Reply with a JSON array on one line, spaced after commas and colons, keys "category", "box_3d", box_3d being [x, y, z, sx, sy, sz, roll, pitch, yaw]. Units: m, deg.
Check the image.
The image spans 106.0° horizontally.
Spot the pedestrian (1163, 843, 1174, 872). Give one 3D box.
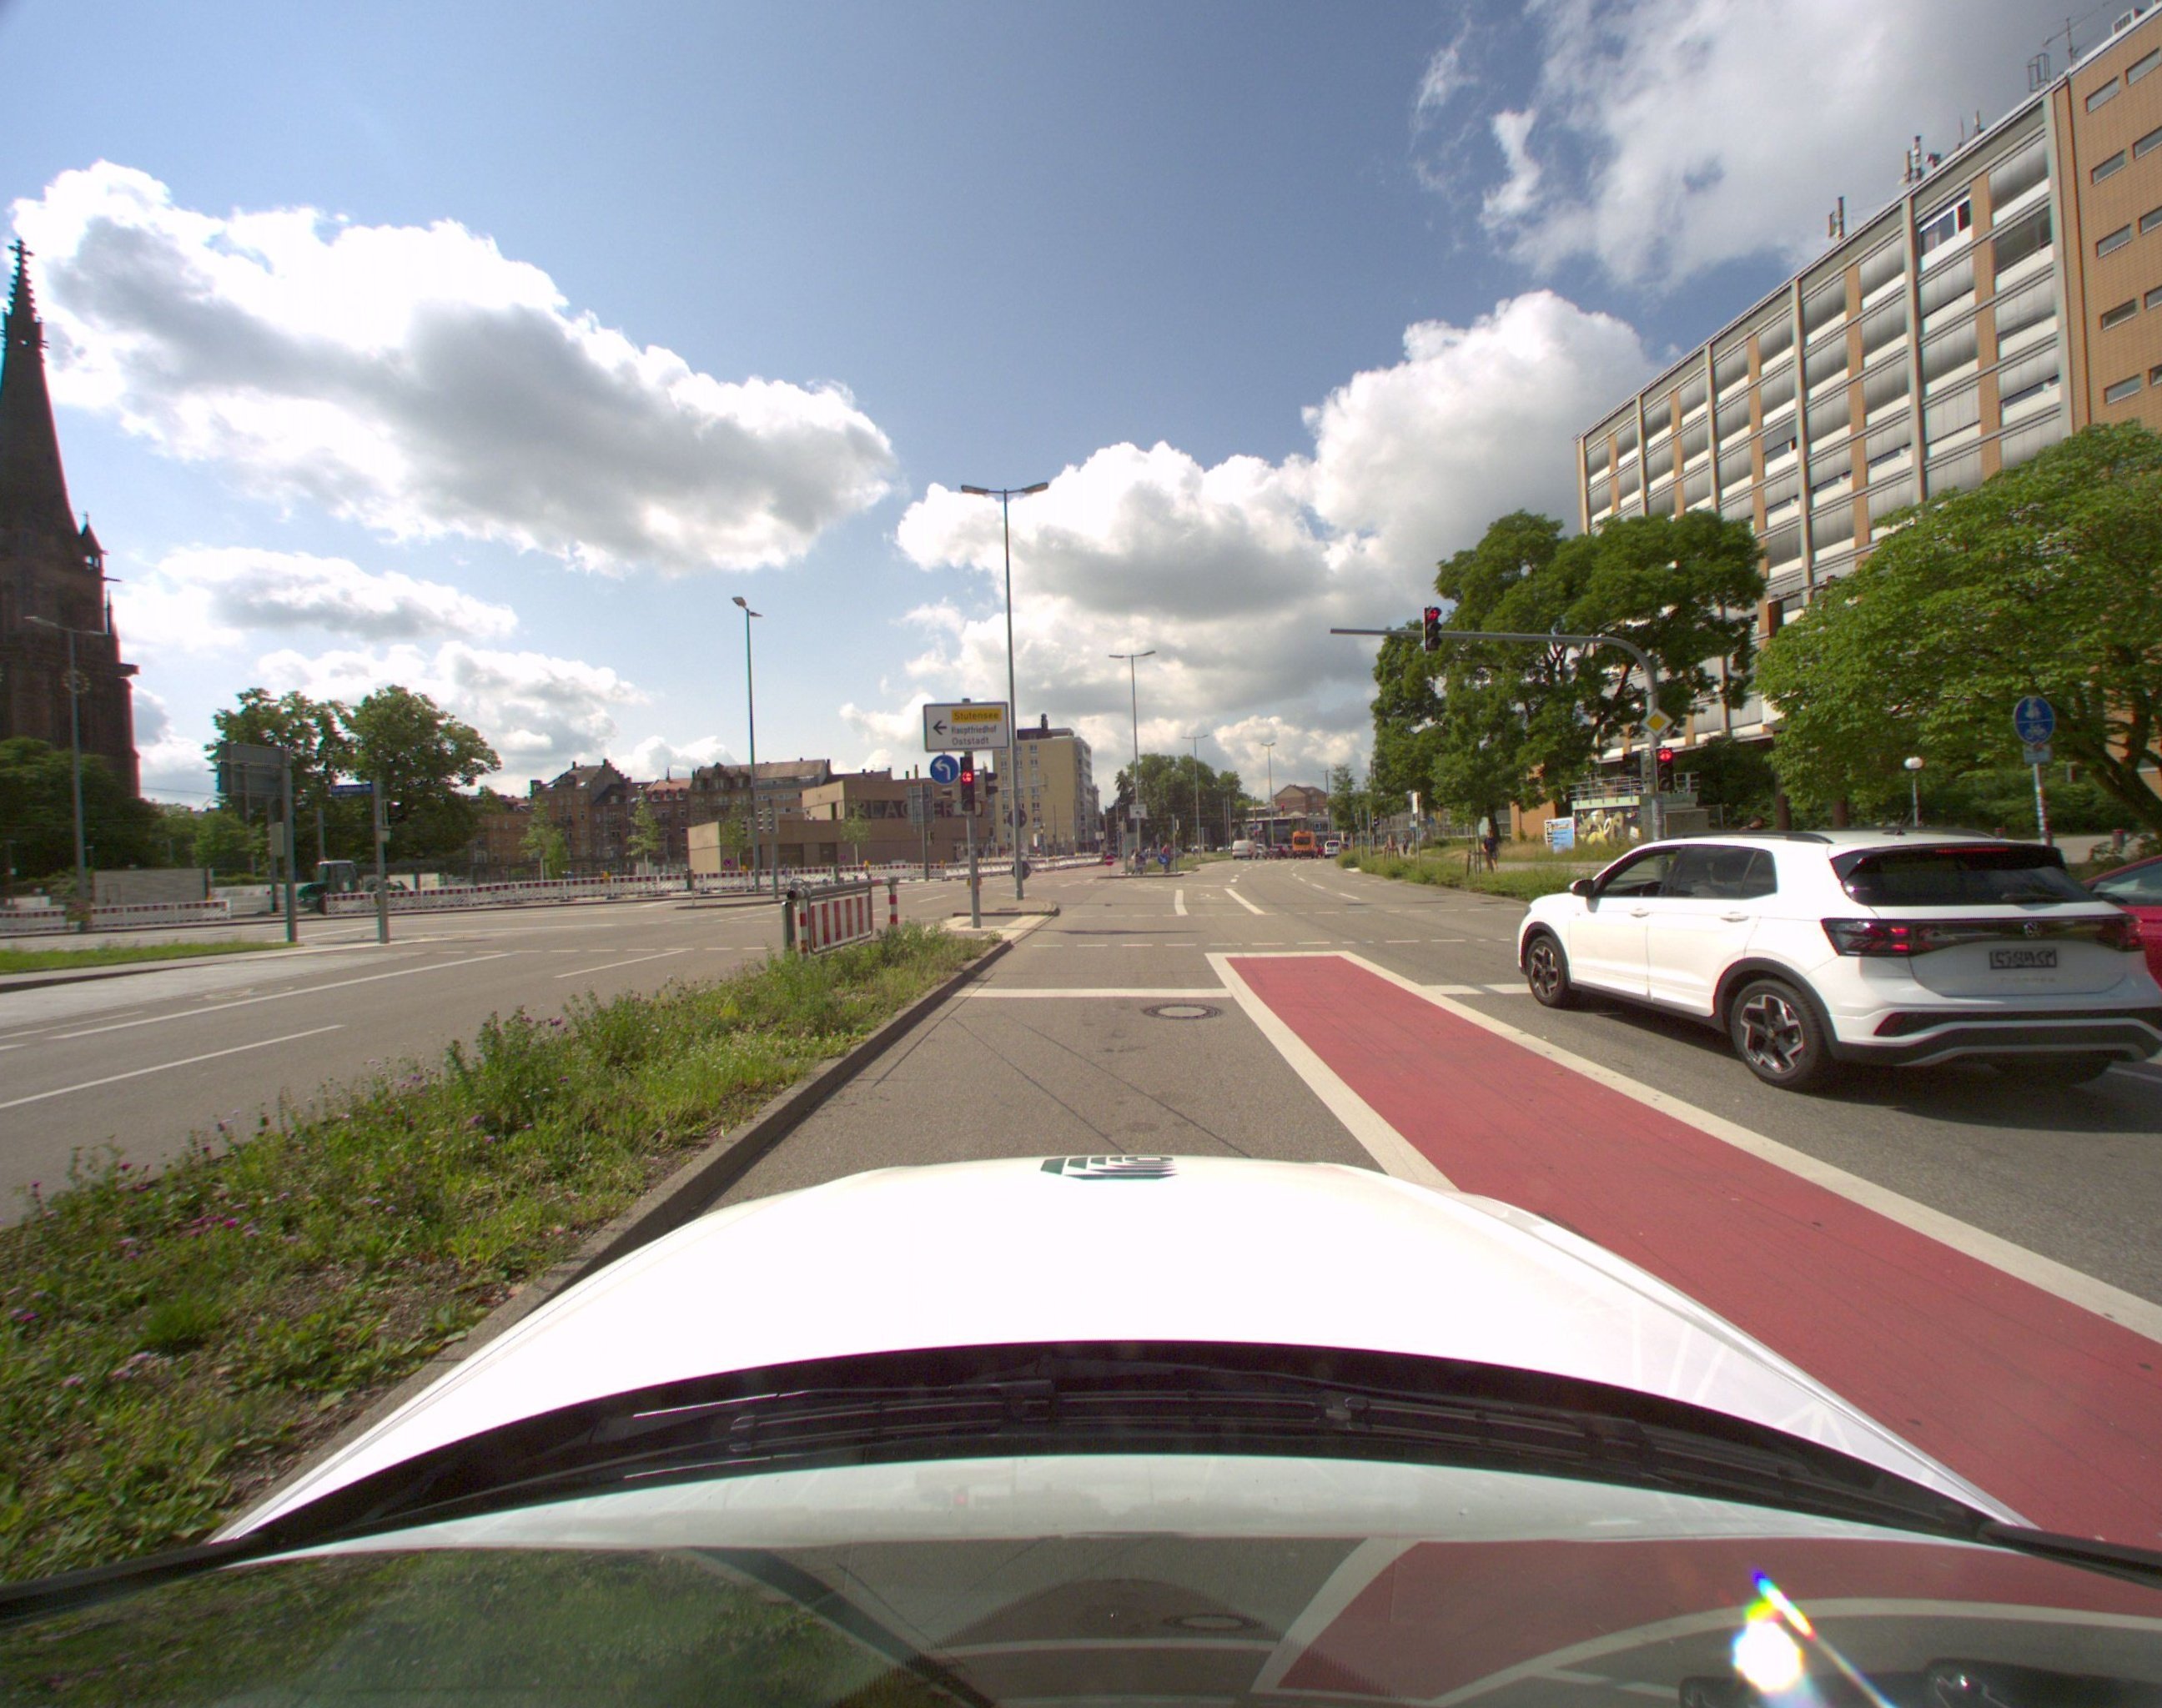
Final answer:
[{"category": "pedestrian", "box_3d": [5.213, 0.229, 48.298, 0.521, 1.684, 0.625, -2, 0, 10]}]

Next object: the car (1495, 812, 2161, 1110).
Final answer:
[{"category": "car", "box_3d": [5.068, 0.544, 6.269, 1.784, 1.539, 4.012, -1, 0, 1]}]

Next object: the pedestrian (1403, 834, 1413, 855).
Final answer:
[{"category": "pedestrian", "box_3d": [29.005, -0.866, 72.247, 0.781, 1.784, 0.670, -2, 0, 21]}]

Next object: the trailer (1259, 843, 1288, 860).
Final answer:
[{"category": "trailer", "box_3d": [19.343, -0.271, 81.803, 1.975, 1.477, 4.024, -3, 0, 26]}]

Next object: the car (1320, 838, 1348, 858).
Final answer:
[{"category": "car", "box_3d": [25.149, -0.622, 80.878, 1.975, 1.795, 4.024, -3, 0, 26]}]

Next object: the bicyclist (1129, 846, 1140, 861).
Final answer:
[{"category": "bicyclist", "box_3d": [7.192, -0.039, 109.982, 1.209, 1.909, 0.863, -2, 0, 21]}]

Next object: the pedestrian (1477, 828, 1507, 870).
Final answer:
[{"category": "pedestrian", "box_3d": [14.951, -0.187, 29.627, 0.766, 1.508, 0.553, -2, 0, 5]}]

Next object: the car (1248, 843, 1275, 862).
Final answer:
[{"category": "car", "box_3d": [20.445, -0.198, 92.318, 1.973, 1.938, 4.665, -3, 0, 24]}]

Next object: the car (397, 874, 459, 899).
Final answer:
[{"category": "car", "box_3d": [-57.631, 2.840, 71.973, 4.201, 1.881, 1.782, -3, 0, -39]}]

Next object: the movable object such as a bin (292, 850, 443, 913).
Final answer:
[{"category": "movable object such as a bin", "box_3d": [-36.575, 1.355, 41.849, 2.259, 2.884, 5.576, -3, 0, 43]}]

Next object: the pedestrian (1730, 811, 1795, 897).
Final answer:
[{"category": "pedestrian", "box_3d": [14.281, -0.009, 17.085, 0.740, 1.735, 0.679, -2, 0, 1]}]

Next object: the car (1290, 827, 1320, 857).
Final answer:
[{"category": "car", "box_3d": [22.637, -1.226, 82.167, 2.110, 2.780, 4.665, -3, 0, 24]}]

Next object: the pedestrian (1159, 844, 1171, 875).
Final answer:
[{"category": "pedestrian", "box_3d": [4.765, 0.284, 46.156, 0.521, 1.733, 0.625, -2, 0, 10]}]

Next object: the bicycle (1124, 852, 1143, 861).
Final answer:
[{"category": "bicycle", "box_3d": [7.058, 0.384, 110.036, 2.358, 1.066, 0.863, -2, 0, 21]}]

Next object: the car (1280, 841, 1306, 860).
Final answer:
[{"category": "car", "box_3d": [23.763, -0.379, 91.091, 1.973, 1.938, 4.665, -3, 0, 24]}]

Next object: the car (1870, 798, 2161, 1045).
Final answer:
[{"category": "car", "box_3d": [7.978, 0.423, 5.137, 1.675, 1.641, 4.463, -2, 0, 0]}]

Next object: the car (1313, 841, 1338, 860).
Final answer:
[{"category": "car", "box_3d": [27.094, -0.454, 90.031, 1.973, 1.938, 4.665, -3, 0, 24]}]

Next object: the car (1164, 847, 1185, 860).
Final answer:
[{"category": "car", "box_3d": [11.050, -0.076, 96.045, 1.778, 1.388, 4.245, -2, 0, 16]}]

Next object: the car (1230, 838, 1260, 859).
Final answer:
[{"category": "car", "box_3d": [17.037, -0.560, 84.413, 1.987, 1.966, 4.665, -3, 0, 24]}]

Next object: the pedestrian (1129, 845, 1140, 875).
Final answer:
[{"category": "pedestrian", "box_3d": [3.137, 0.335, 47.435, 0.521, 1.733, 0.625, -2, 0, 10]}]

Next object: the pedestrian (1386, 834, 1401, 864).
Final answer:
[{"category": "pedestrian", "box_3d": [18.082, -0.301, 47.161, 0.655, 1.733, 0.580, -2, 0, 14]}]

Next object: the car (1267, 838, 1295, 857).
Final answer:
[{"category": "car", "box_3d": [20.863, -0.718, 84.988, 1.975, 1.826, 4.024, -3, 0, 26]}]
